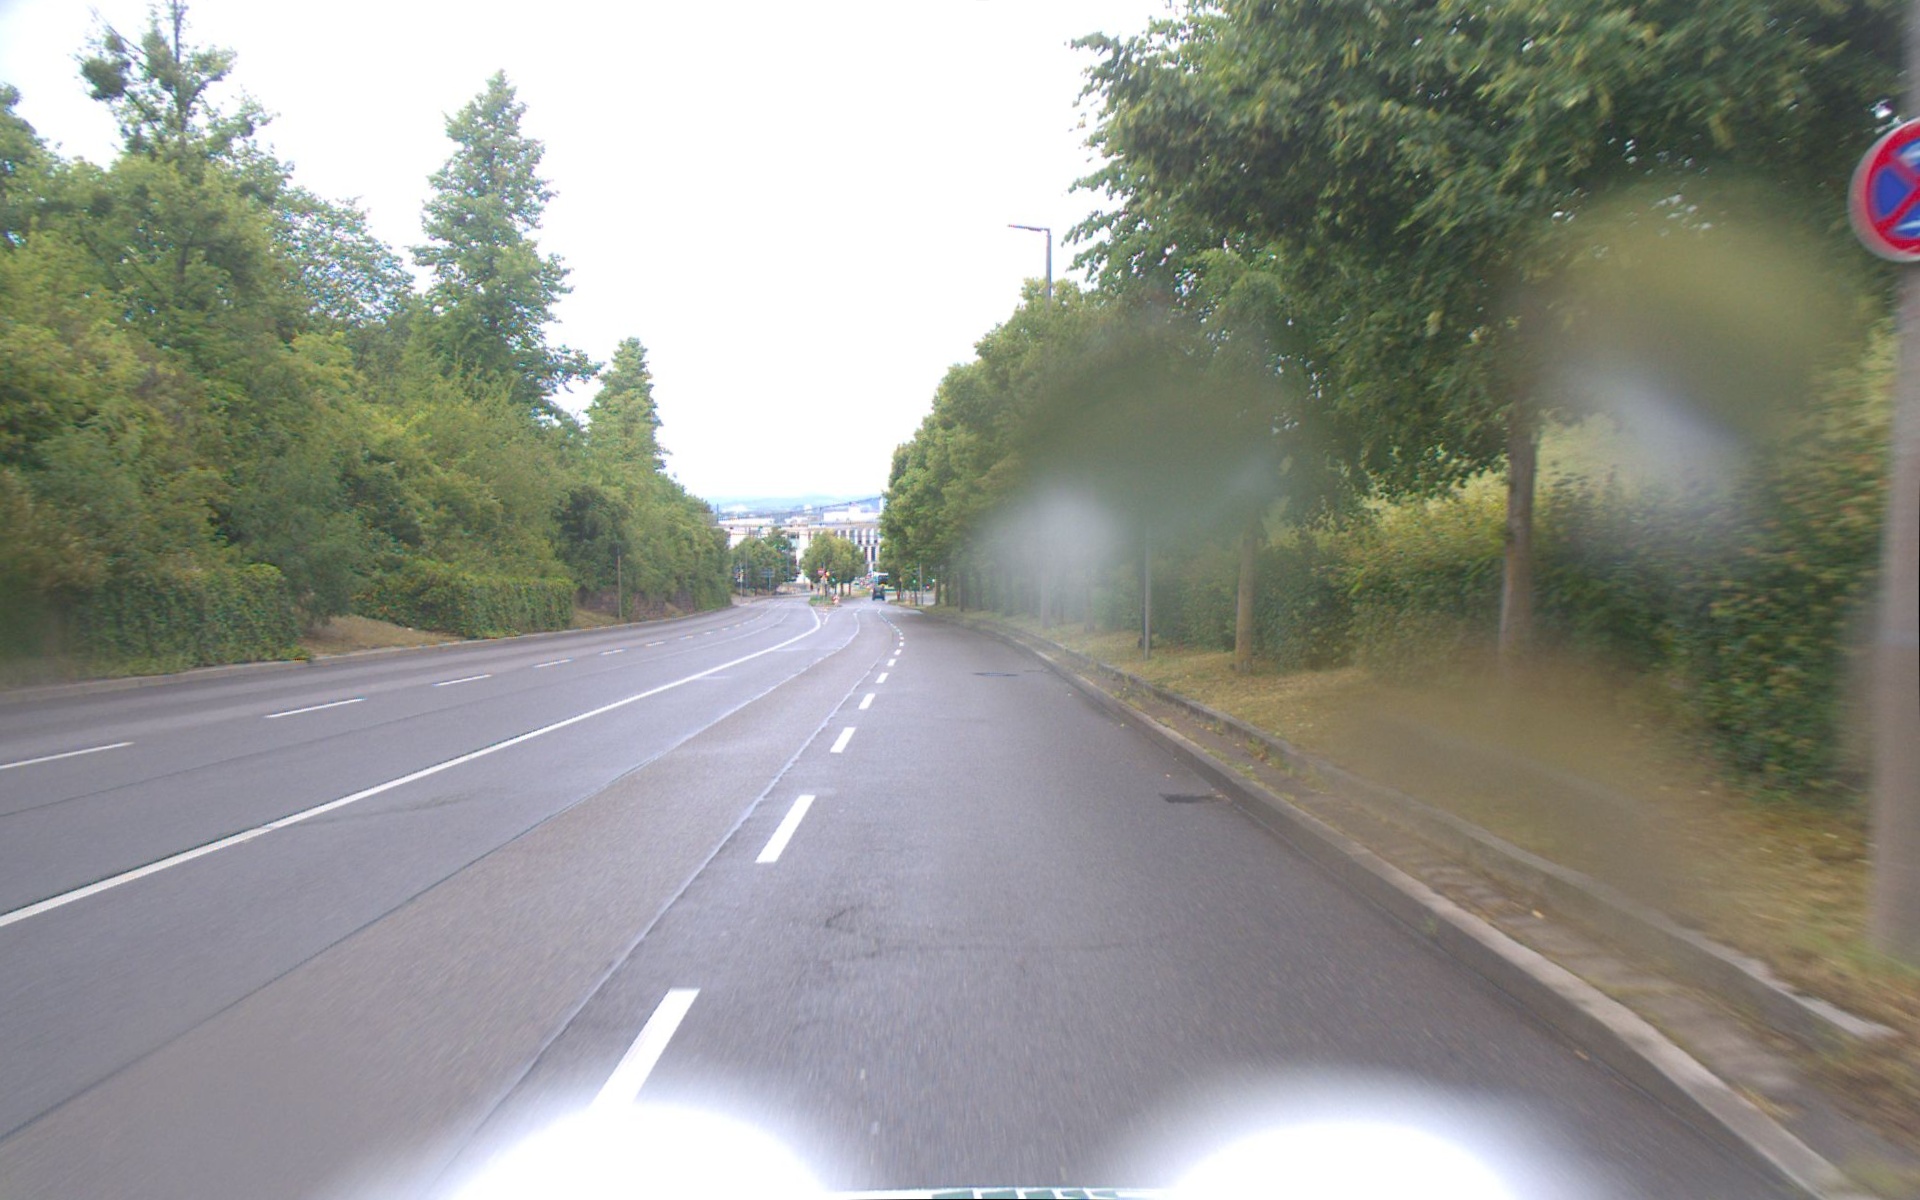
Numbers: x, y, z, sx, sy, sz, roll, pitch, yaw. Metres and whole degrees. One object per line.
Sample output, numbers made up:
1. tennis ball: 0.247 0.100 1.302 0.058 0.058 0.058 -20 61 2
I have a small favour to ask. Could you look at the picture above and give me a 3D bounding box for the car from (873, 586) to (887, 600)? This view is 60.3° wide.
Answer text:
1. car: -10.961 -0.983 226.527 1.812 1.731 3.791 2 -1 -1
